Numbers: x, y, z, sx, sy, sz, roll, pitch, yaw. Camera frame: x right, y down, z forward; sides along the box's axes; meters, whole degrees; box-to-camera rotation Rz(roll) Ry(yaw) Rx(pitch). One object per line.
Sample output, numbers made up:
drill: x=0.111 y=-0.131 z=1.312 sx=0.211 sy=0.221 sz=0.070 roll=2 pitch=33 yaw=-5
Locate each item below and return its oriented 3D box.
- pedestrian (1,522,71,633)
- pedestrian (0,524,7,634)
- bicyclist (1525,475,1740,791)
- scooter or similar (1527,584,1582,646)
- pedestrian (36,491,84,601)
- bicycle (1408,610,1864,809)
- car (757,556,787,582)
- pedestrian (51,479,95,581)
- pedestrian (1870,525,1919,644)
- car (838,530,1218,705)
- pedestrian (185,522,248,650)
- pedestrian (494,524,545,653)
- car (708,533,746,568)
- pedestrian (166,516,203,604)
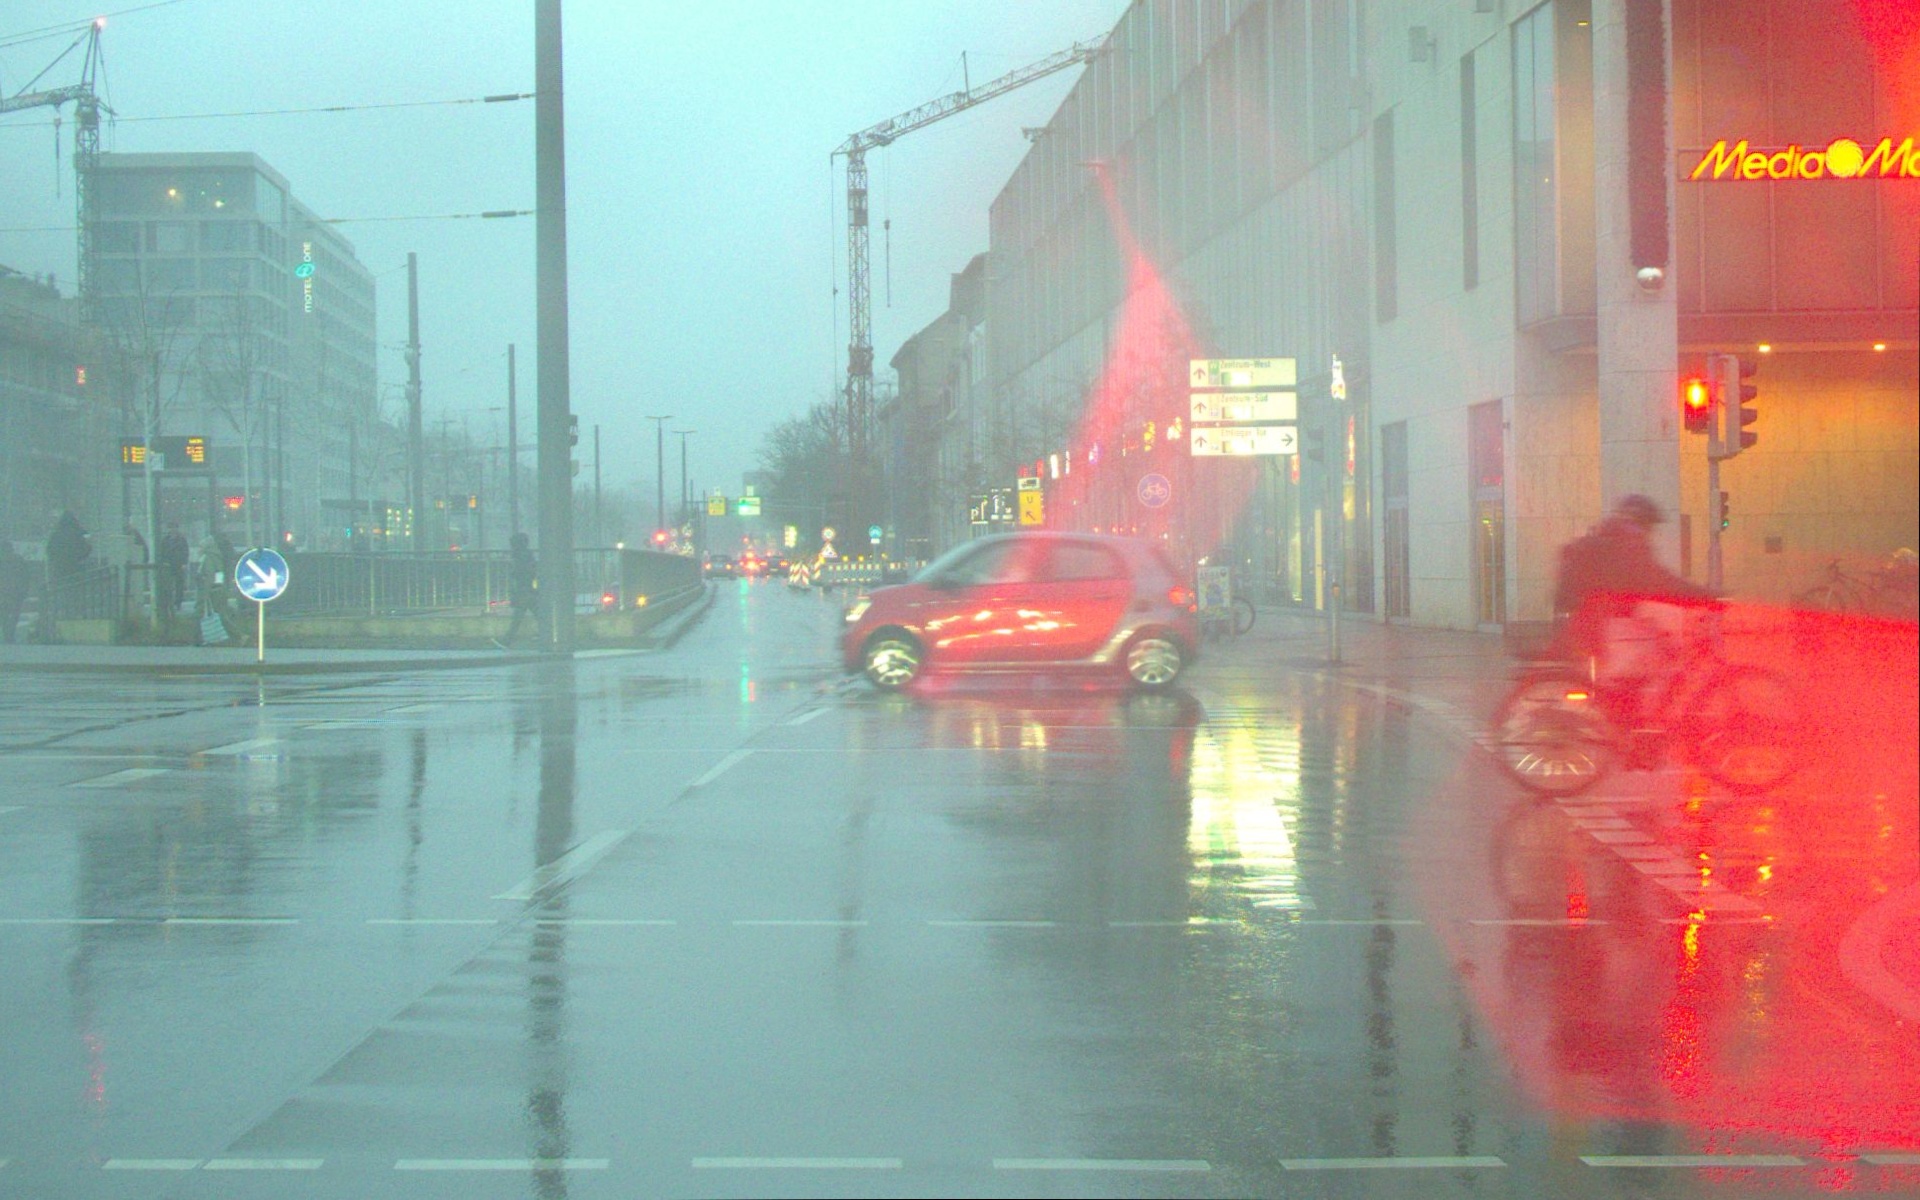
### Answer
pedestrian: x=-13.504 y=-0.336 z=50.219 sx=0.743 sy=1.602 sz=0.812 roll=-1 pitch=1 yaw=-34
pedestrian: x=-14.330 y=-0.303 z=50.254 sx=0.611 sy=1.613 sz=0.709 roll=-1 pitch=1 yaw=-28
bicyclist: x=3.694 y=0.175 z=18.929 sx=1.033 sy=1.691 sz=0.618 roll=-1 pitch=1 yaw=0
scooter or similar: x=8.869 y=0.225 z=51.279 sx=0.741 sy=0.913 sz=0.400 roll=-1 pitch=1 yaw=1
pedestrian: x=-14.382 y=-0.861 z=54.937 sx=0.619 sy=1.740 sz=0.613 roll=-1 pitch=1 yaw=-6
bicycle: x=3.703 y=0.593 z=18.924 sx=2.372 sy=1.029 sz=0.618 roll=-1 pitch=1 yaw=0
car: x=-12.812 y=-2.110 z=234.637 sx=1.888 sy=1.777 sz=3.714 roll=1 pitch=0 yaw=-1
pedestrian: x=-15.247 y=-1.201 z=59.130 sx=0.660 sy=1.740 sz=0.736 roll=-1 pitch=1 yaw=-11
pedestrian: x=13.638 y=-0.229 z=50.171 sx=0.536 sy=1.712 sz=0.501 roll=0 pitch=1 yaw=37
car: x=0.622 y=0.161 z=33.361 sx=3.568 sy=1.577 sz=1.677 roll=-1 pitch=0 yaw=-1
pedestrian: x=-10.294 y=-0.202 z=47.626 sx=0.703 sy=1.754 sz=0.652 roll=-1 pitch=1 yaw=-1
pedestrian: x=-6.108 y=-0.161 z=47.695 sx=0.633 sy=1.766 sz=0.484 roll=-1 pitch=1 yaw=-2
car: x=-13.702 y=-2.914 z=202.081 sx=1.993 sy=2.007 sz=4.000 roll=1 pitch=0 yaw=-1
pedestrian: x=-15.335 y=-0.793 z=68.016 sx=0.660 sy=1.740 sz=0.621 roll=-1 pitch=1 yaw=-11
